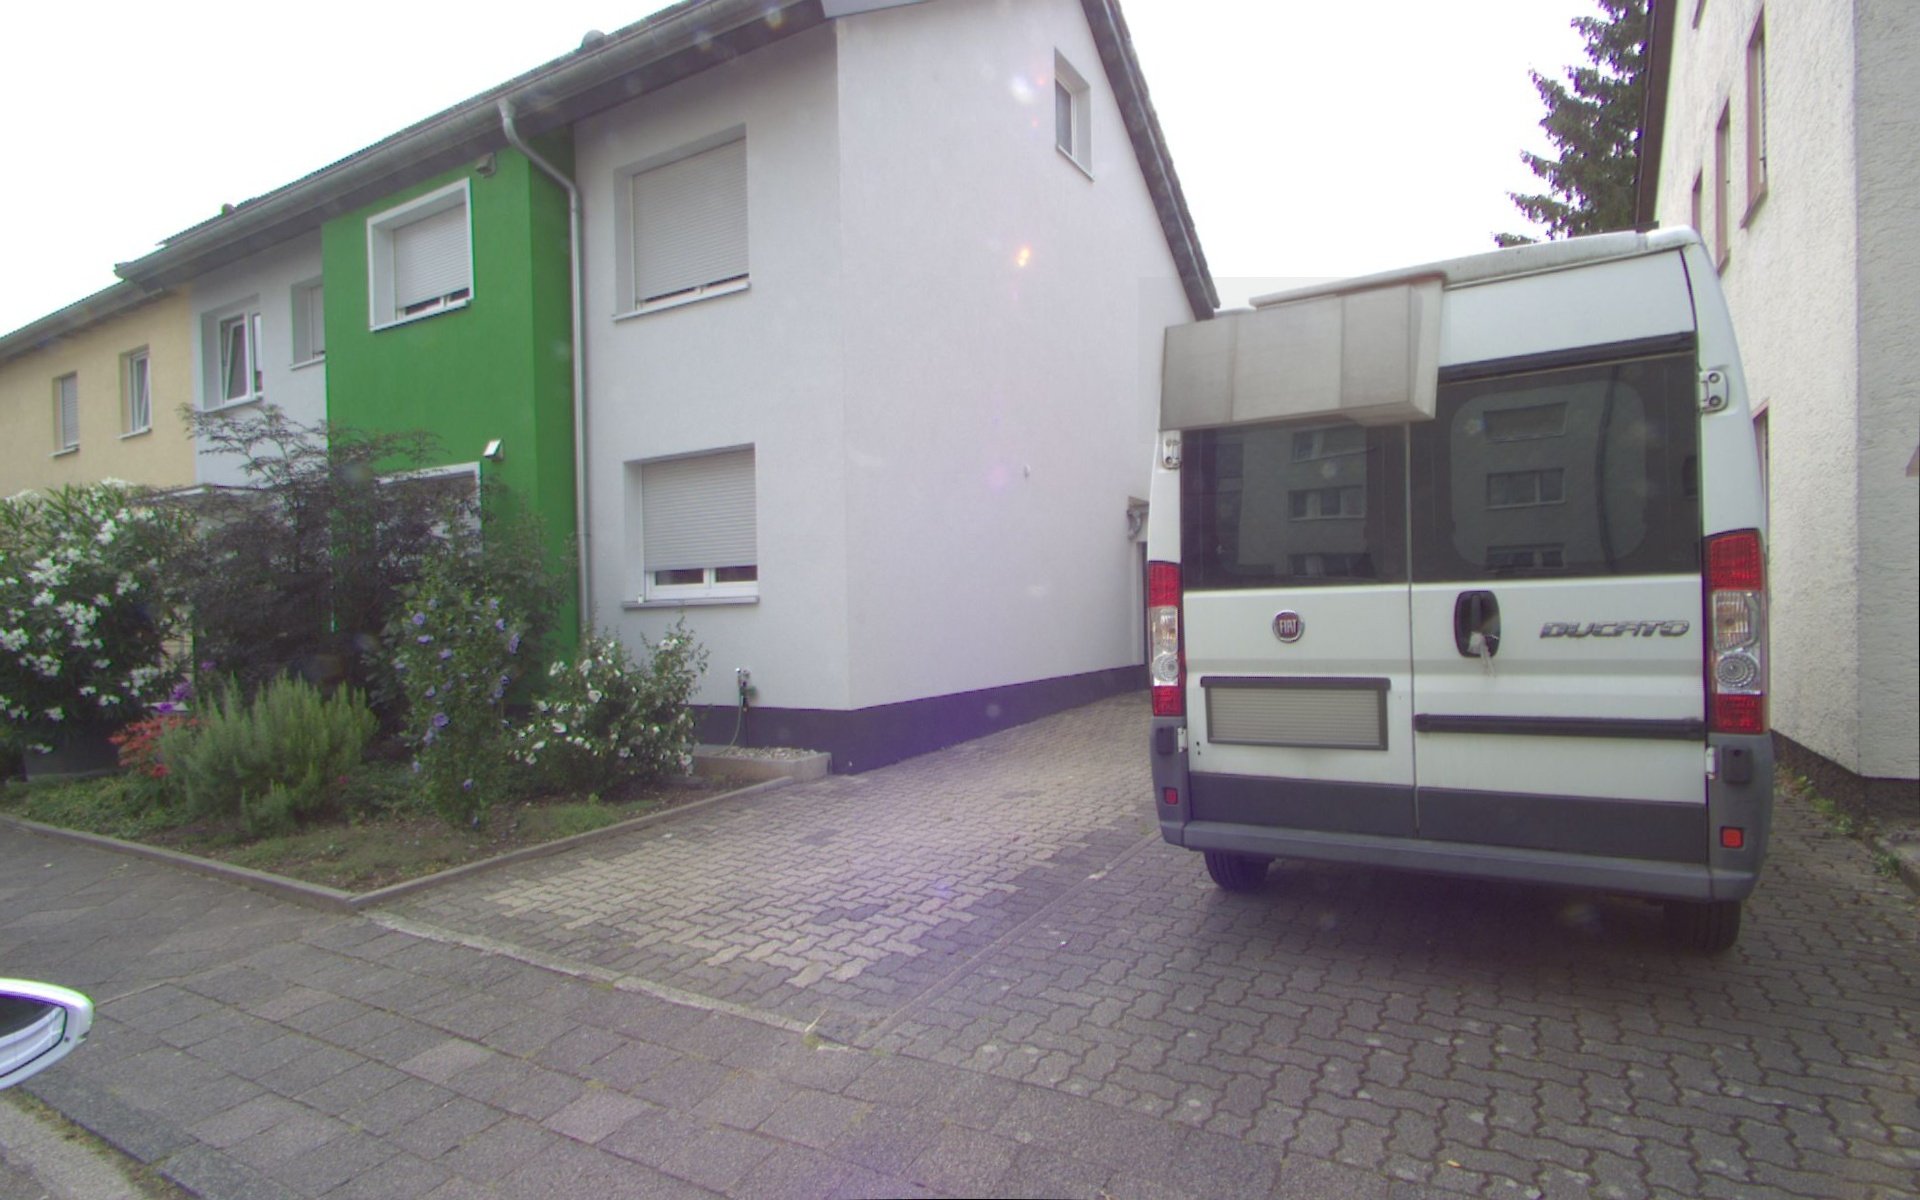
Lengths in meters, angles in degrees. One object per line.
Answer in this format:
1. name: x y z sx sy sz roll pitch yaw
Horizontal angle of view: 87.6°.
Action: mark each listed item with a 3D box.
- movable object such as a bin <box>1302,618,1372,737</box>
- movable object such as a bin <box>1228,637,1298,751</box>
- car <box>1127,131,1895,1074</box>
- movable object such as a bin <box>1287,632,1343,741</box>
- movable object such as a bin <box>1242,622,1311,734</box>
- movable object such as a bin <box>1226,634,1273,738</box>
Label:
1. movable object such as a bin: 3.589 0.723 9.530 0.538 1.071 0.454 -1 2 30
2. movable object such as a bin: 2.694 0.816 8.886 0.475 0.938 0.518 -1 2 30
3. car: 2.913 -0.014 5.497 2.205 2.576 5.077 -1 1 31
4. movable object such as a bin: 3.250 0.780 9.159 0.396 0.938 0.448 -1 2 30
5. movable object such as a bin: 3.102 0.748 9.812 0.538 1.046 0.454 -1 2 30
6. movable object such as a bin: 2.748 0.807 9.499 0.333 0.938 0.354 -1 2 30
